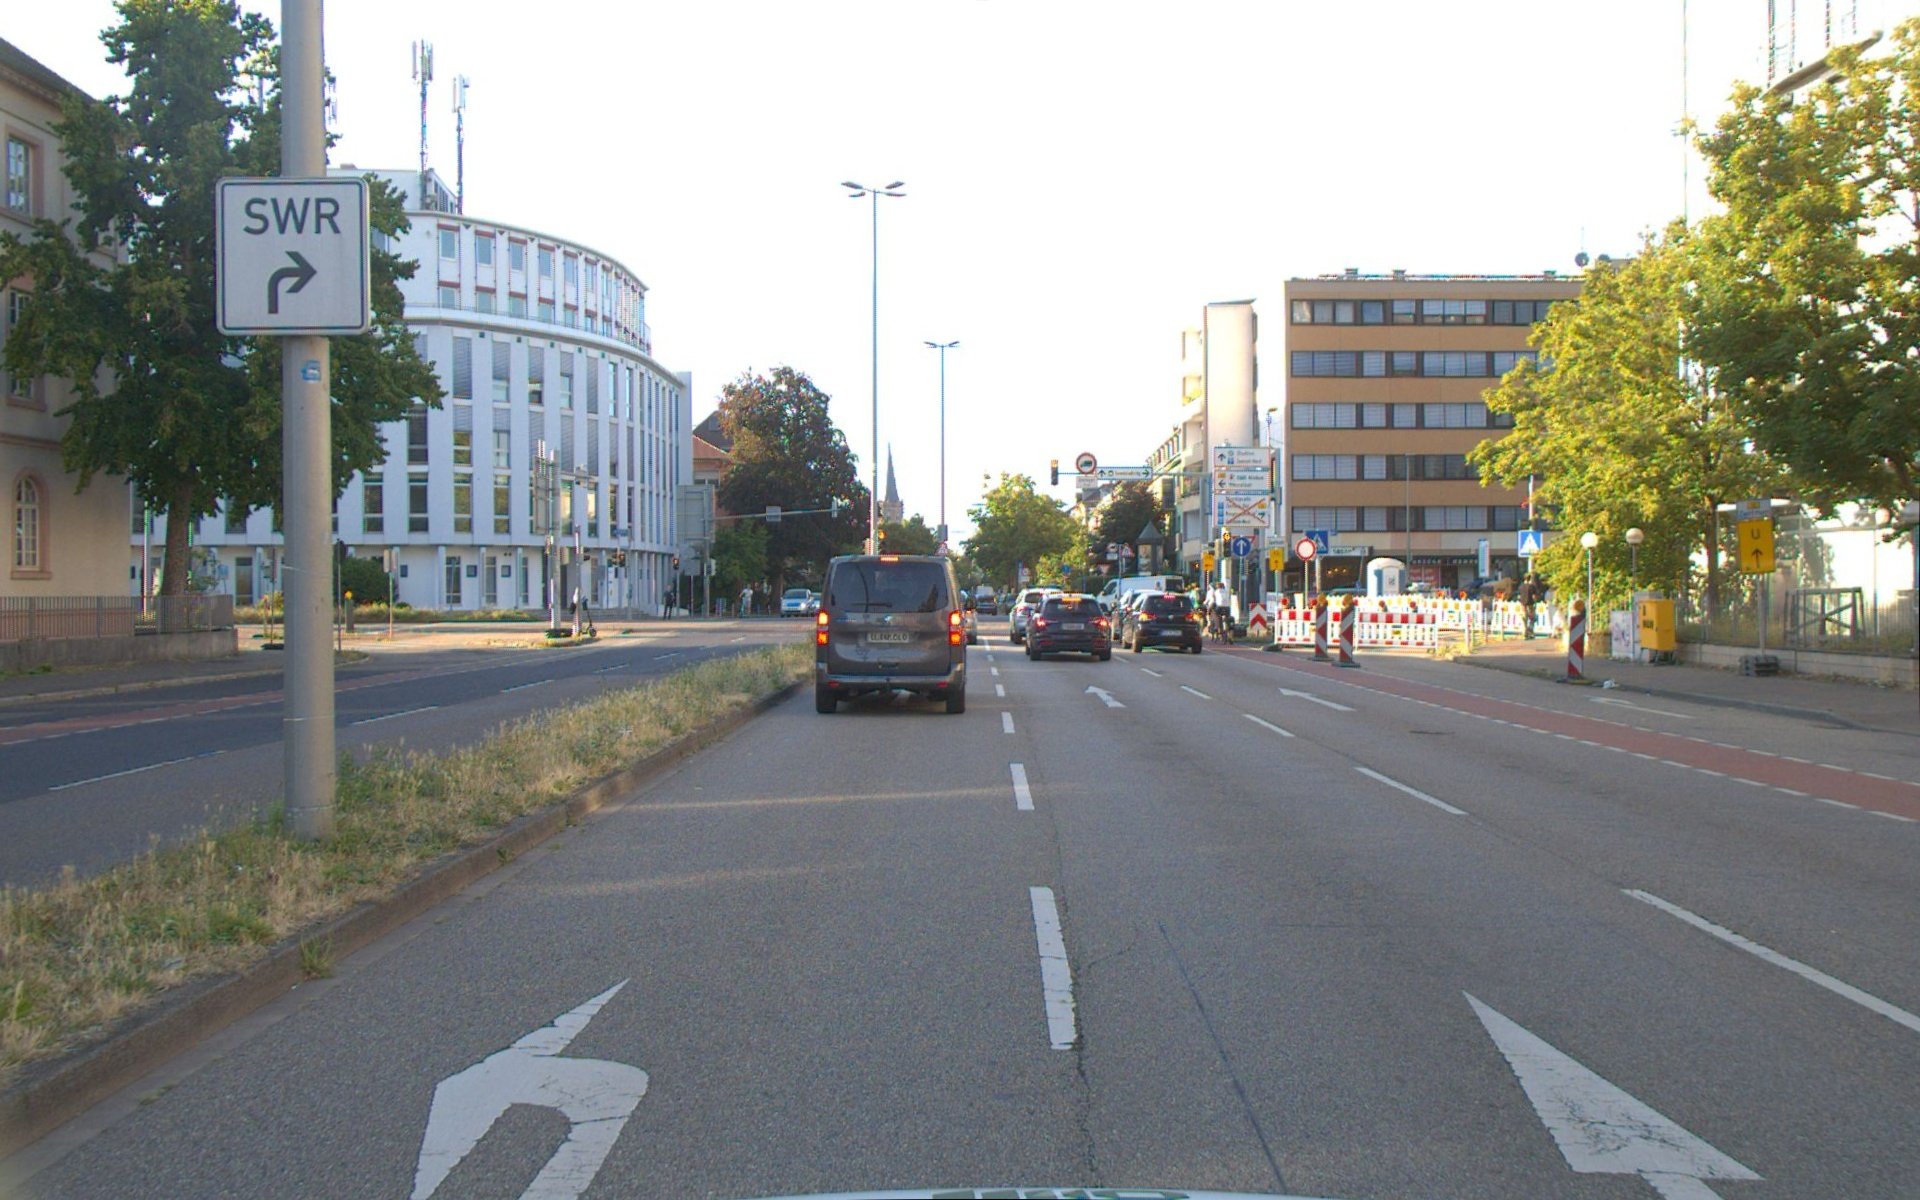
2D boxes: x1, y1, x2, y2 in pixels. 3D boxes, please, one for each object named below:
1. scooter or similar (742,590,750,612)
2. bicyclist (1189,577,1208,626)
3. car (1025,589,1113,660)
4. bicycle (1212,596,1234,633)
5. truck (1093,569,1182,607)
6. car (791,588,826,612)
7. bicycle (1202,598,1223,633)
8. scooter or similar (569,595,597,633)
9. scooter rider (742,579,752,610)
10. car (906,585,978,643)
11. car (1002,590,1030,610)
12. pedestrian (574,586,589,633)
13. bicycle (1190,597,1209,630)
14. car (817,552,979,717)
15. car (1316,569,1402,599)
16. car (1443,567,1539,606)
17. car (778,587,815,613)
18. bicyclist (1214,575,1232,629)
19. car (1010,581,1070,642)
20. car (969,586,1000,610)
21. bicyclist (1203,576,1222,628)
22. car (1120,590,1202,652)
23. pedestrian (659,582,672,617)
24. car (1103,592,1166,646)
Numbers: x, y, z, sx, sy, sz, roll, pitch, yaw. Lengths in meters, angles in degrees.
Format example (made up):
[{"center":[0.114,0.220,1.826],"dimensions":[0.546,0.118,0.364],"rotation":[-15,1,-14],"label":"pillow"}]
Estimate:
[{"center":[-11.768,0.052,90.980],"dimensions":[0.279,1.209,1.169],"rotation":[-1,0,0],"label":"scooter or similar"},{"center":[7.636,0.057,52.948],"dimensions":[0.503,1.552,0.725],"rotation":[-1,0,0],"label":"bicyclist"},{"center":[2.386,0.506,37.057],"dimensions":[1.647,1.446,4.213],"rotation":[1,1,0],"label":"car"},{"center":[7.601,0.411,47.794],"dimensions":[0.329,1.025,1.856],"rotation":[-1,1,0],"label":"bicycle"},{"center":[10.025,-0.671,93.567],"dimensions":[4.541,2.123,2.126],"rotation":[0,1,38],"label":"truck"},{"center":[-9.234,-0.008,101.038],"dimensions":[1.818,1.445,3.999],"rotation":[-1,1,-2],"label":"car"},{"center":[7.629,0.449,49.932],"dimensions":[0.329,1.025,1.856],"rotation":[-1,1,0],"label":"bicycle"},{"center":[-12.564,0.459,55.080],"dimensions":[0.877,1.255,0.370],"rotation":[-1,0,-12],"label":"scooter or similar"},{"center":[-11.718,-0.311,91.085],"dimensions":[0.471,1.727,0.636],"rotation":[-1,0,0],"label":"scooter rider"},{"center":[-0.496,0.368,46.924],"dimensions":[1.953,1.556,4.000],"rotation":[-1,1,0],"label":"car"},{"center":[4.177,-0.021,123.525],"dimensions":[1.866,1.396,3.999],"rotation":[-1,1,-2],"label":"car"},{"center":[-12.628,0.311,55.169],"dimensions":[0.466,1.532,0.334],"rotation":[-1,0,-12],"label":"pedestrian"},{"center":[7.651,0.417,52.903],"dimensions":[0.329,1.025,1.856],"rotation":[-1,1,0],"label":"bicycle"},{"center":[-0.732,0.385,21.578],"dimensions":[1.868,1.896,4.526],"rotation":[1,1,0],"label":"car"},{"center":[20.242,-0.807,83.982],"dimensions":[3.911,1.445,1.785],"rotation":[-1,0,-7],"label":"car"},{"center":[26.413,-0.675,82.319],"dimensions":[4.129,1.849,2.000],"rotation":[-1,0,0],"label":"car"},{"center":[-9.385,-0.007,95.021],"dimensions":[1.818,1.445,3.999],"rotation":[-1,1,-2],"label":"car"},{"center":[7.599,0.053,47.718],"dimensions":[0.432,1.552,0.482],"rotation":[-1,0,-1],"label":"bicyclist"},{"center":[2.278,0.298,47.600],"dimensions":[1.497,1.641,3.745],"rotation":[1,1,0],"label":"car"},{"center":[1.727,-0.139,118.315],"dimensions":[1.954,1.691,3.998],"rotation":[-1,0,-3],"label":"car"},{"center":[7.640,0.056,50.012],"dimensions":[0.432,1.552,0.725],"rotation":[-1,0,0],"label":"bicyclist"},{"center":[5.112,0.506,42.390],"dimensions":[1.600,1.474,3.745],"rotation":[1,1,0],"label":"car"},{"center":[-14.913,-0.043,83.711],"dimensions":[0.615,1.752,0.669],"rotation":[-1,0,-14],"label":"pedestrian"},{"center":[5.047,0.525,48.096],"dimensions":[1.474,1.474,3.305],"rotation":[-1,1,0],"label":"car"}]
